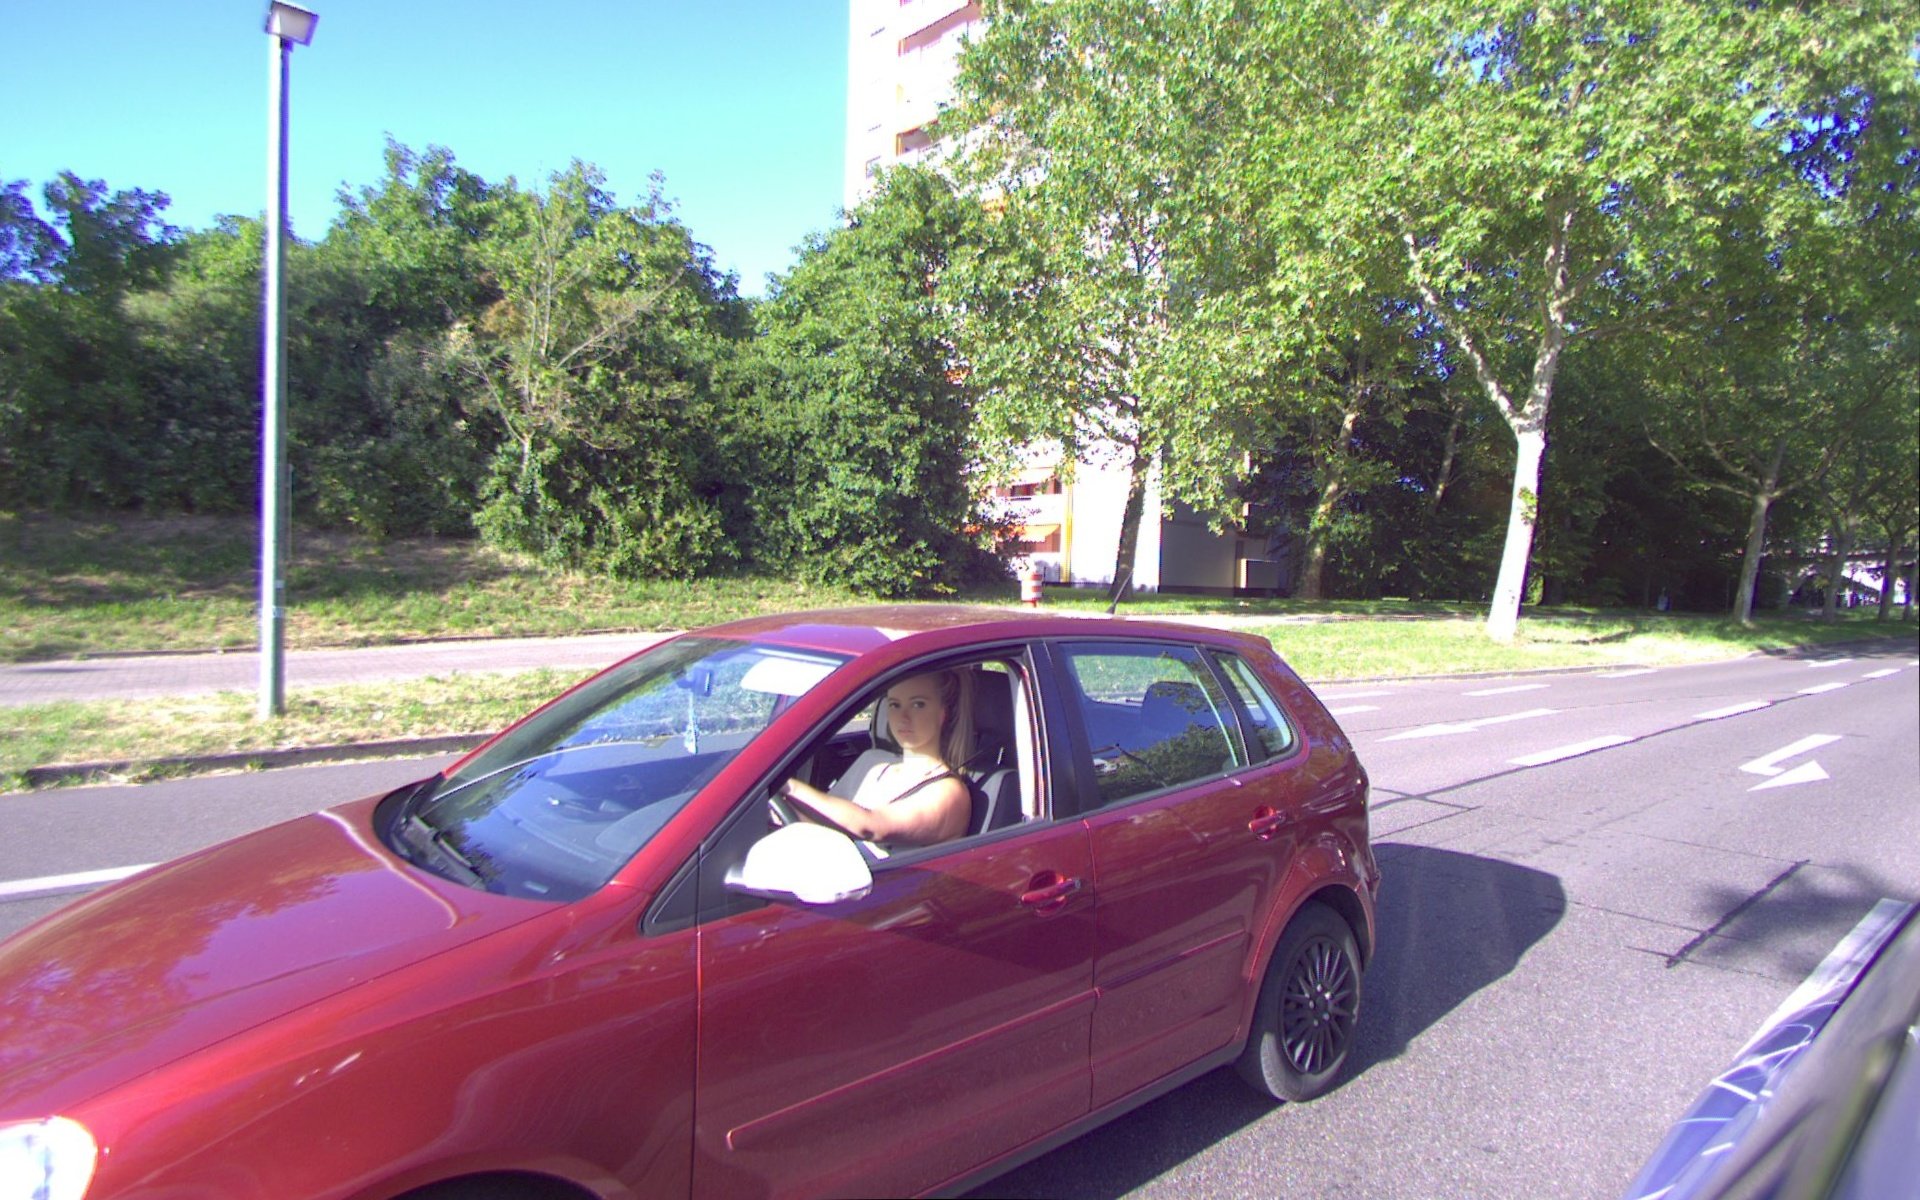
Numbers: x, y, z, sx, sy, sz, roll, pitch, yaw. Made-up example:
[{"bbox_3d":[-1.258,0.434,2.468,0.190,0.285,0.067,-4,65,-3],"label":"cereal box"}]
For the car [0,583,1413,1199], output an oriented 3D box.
[{"bbox_3d":[-0.466,0.694,2.759,3.627,1.434,1.626,0,1,-39],"label":"car"}]
